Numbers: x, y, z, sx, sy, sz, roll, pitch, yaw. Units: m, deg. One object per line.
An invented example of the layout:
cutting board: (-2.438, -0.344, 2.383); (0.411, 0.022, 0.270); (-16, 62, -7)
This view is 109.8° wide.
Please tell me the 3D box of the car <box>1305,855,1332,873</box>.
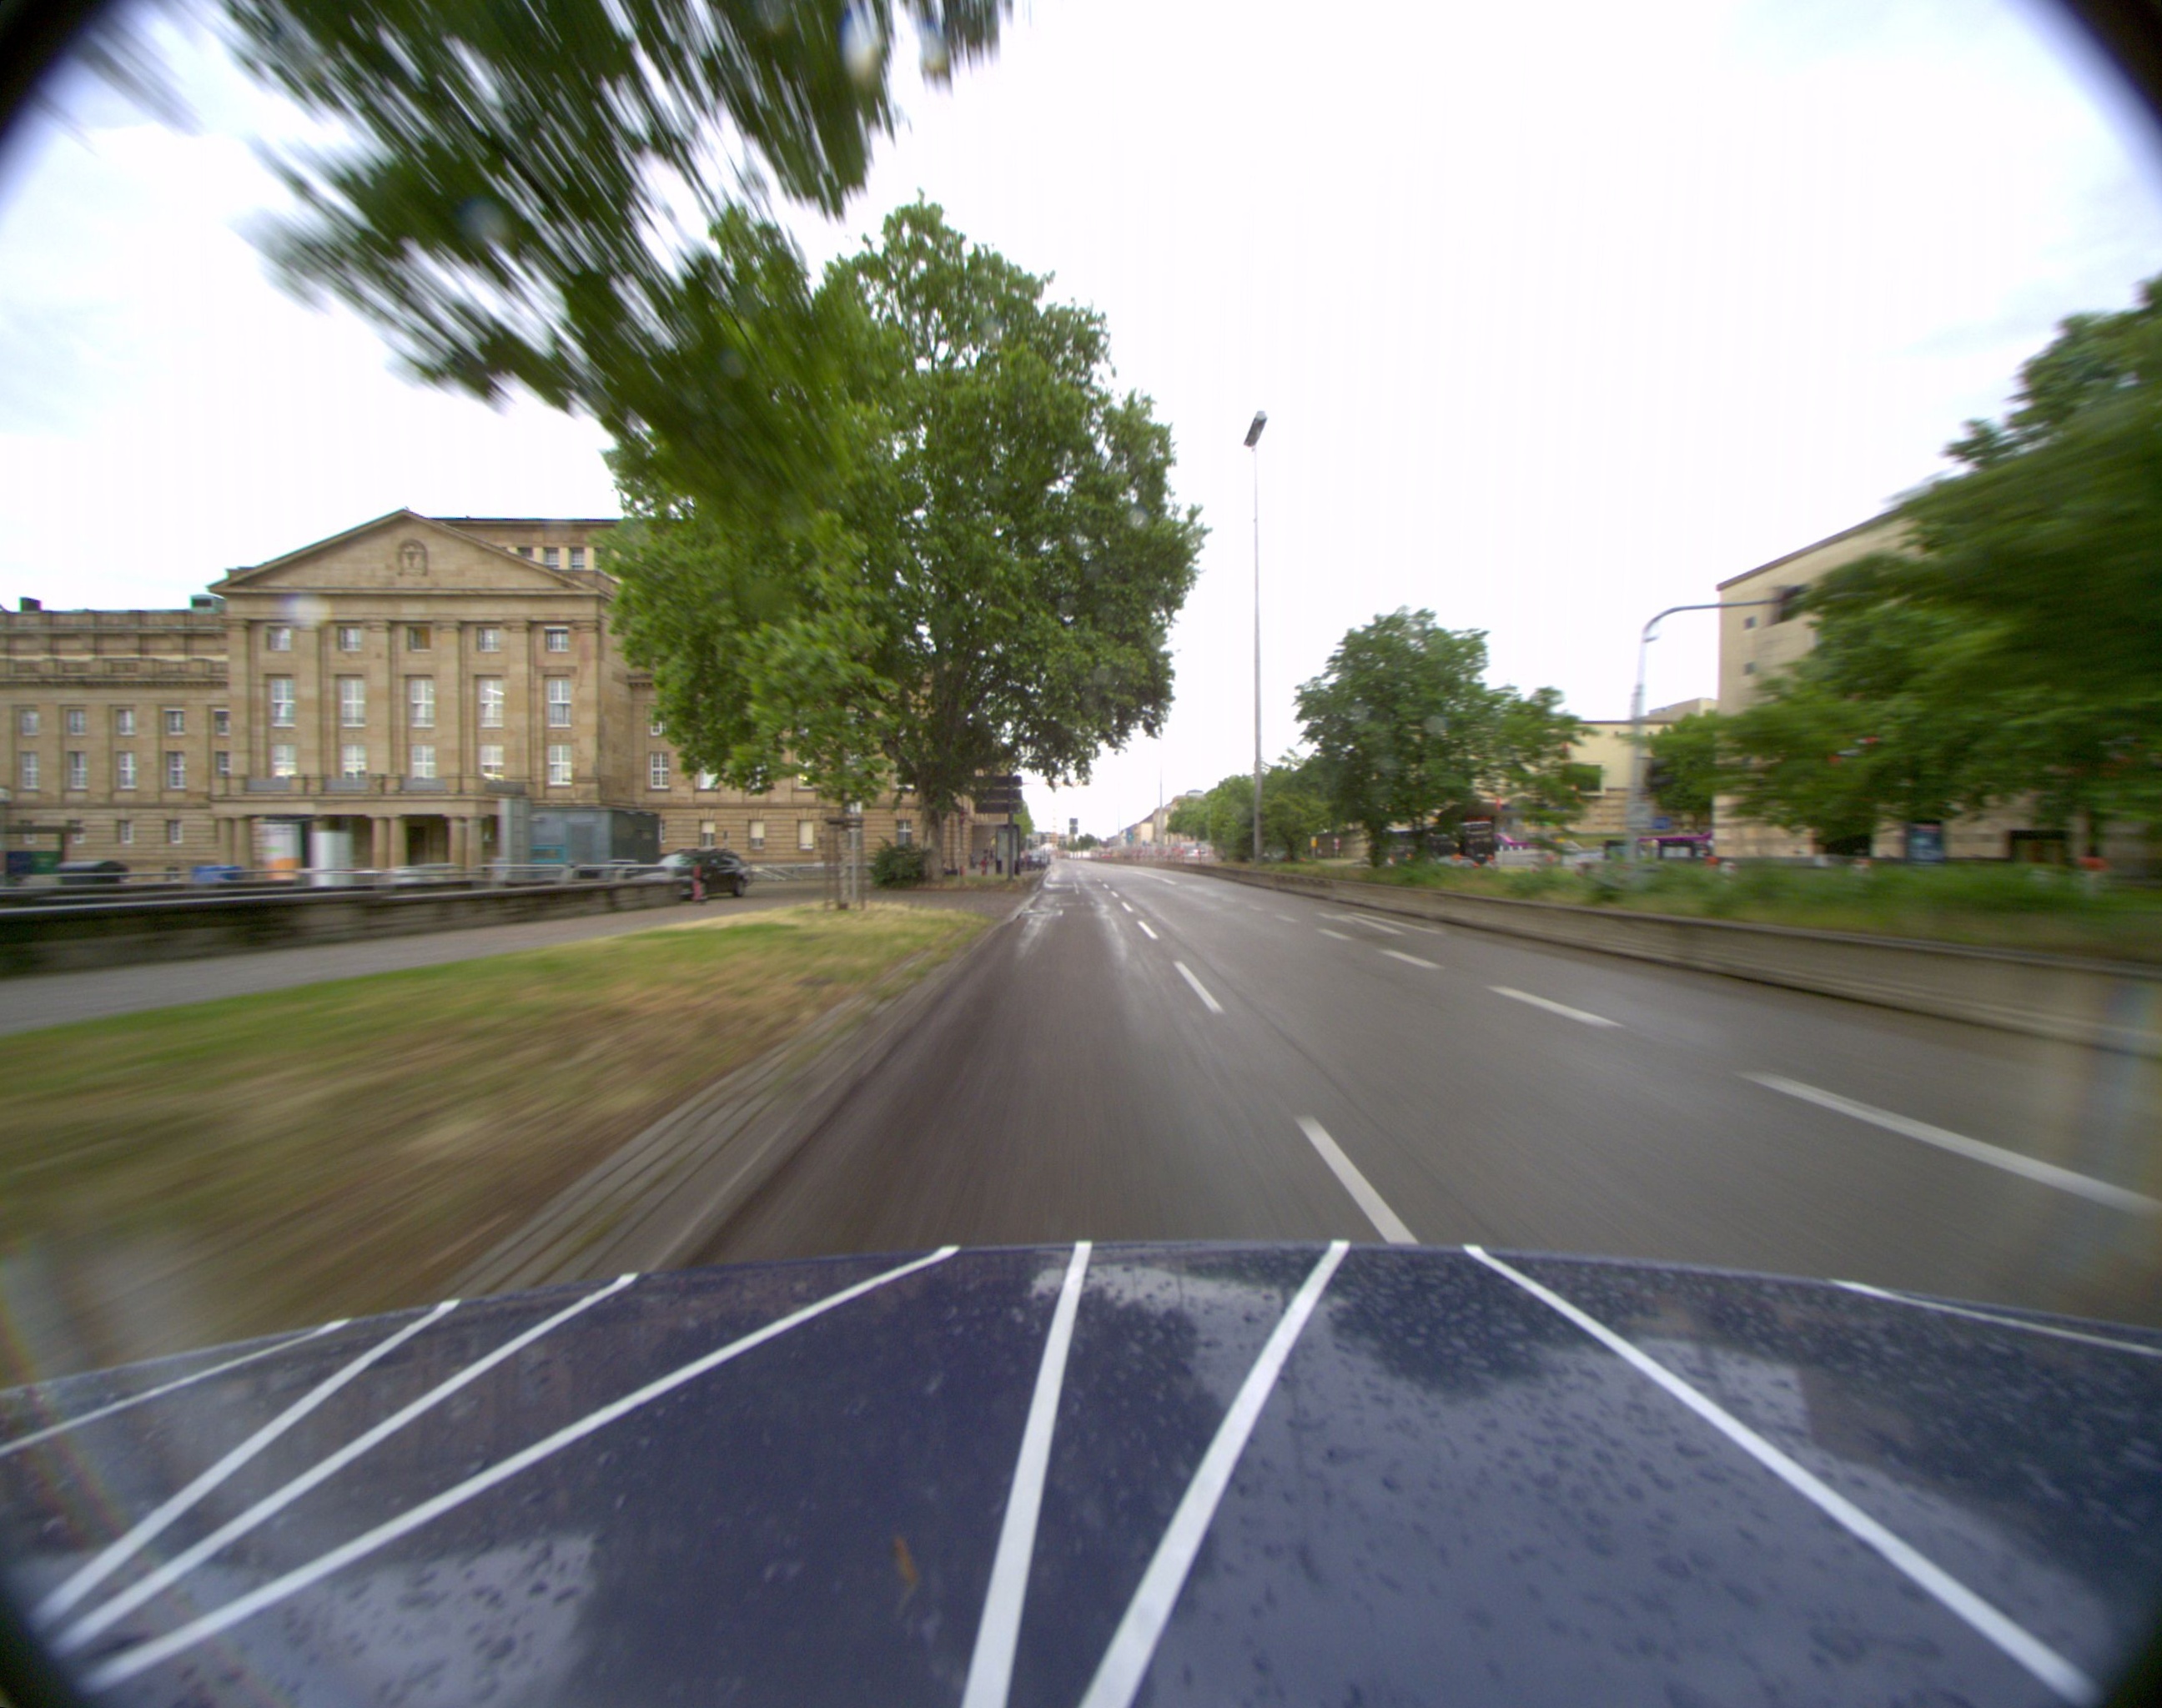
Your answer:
car: (24.239, 1.019, 77.609); (1.596, 1.493, 3.210); (-1, 5, -4)

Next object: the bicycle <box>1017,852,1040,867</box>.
bicycle: (-3.922, 0.419, 56.761); (1.683, 1.084, 0.650); (-1, 1, 1)

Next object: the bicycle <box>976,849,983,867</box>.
bicycle: (-8.779, 0.339, 65.846); (0.455, 1.507, 1.599); (-2, 1, -2)

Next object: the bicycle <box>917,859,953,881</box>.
bicycle: (-7.287, 0.802, 38.006); (1.644, 1.014, 0.575); (-2, 1, 4)

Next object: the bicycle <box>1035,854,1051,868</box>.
bicycle: (-2.697, 0.520, 54.430); (0.670, 0.962, 1.639); (0, 1, 14)

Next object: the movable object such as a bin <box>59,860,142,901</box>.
movable object such as a bin: (-36.805, 0.968, 28.535); (1.493, 1.449, 1.249); (1, 2, 2)

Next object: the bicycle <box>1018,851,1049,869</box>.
bicycle: (-3.438, 0.454, 55.509); (2.196, 1.329, 0.650); (0, 1, 1)

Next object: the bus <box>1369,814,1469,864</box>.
bus: (29.187, -1.224, 66.719); (2.810, 3.789, 14.598); (-2, 0, 3)

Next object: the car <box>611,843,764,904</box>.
car: (-11.566, 0.558, 22.872); (1.999, 1.600, 5.236); (-1, -1, -2)

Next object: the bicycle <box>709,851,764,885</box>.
bicycle: (-17.271, 0.693, 38.121); (2.323, 1.657, 0.774); (-1, 2, -7)

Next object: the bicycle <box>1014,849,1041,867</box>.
bicycle: (-3.965, 0.300, 56.288); (1.911, 1.325, 0.650); (-1, 1, 1)

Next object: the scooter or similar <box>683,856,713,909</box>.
scooter or similar: (-9.503, 0.693, 18.822); (0.544, 1.248, 1.433); (0, 1, -32)

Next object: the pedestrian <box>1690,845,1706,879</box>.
pedestrian: (37.138, 0.472, 45.740); (0.479, 2.002, 0.512); (1, 2, -1)

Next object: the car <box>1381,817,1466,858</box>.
car: (13.288, -0.611, 29.717); (1.549, 1.499, 3.930); (-1, 1, 0)

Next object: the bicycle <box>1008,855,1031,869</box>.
bicycle: (-4.448, 0.553, 54.666); (1.593, 0.988, 0.524); (-1, 1, 1)

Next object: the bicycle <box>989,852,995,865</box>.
bicycle: (-8.477, 0.461, 72.650); (0.465, 1.208, 1.691); (-1, 1, -3)

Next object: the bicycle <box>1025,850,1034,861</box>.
bicycle: (-6.006, 0.160, 88.057); (0.778, 1.211, 1.963); (1, 1, -12)

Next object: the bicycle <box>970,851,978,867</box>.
bicycle: (-8.738, 0.399, 62.094); (0.455, 1.244, 1.599); (-2, 1, -2)

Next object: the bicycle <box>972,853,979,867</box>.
bicycle: (-8.473, 0.484, 61.221); (0.353, 1.074, 1.788); (1, 1, -2)

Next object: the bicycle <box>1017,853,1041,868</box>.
bicycle: (-3.753, 0.482, 55.411); (1.683, 1.116, 0.601); (-1, 1, 1)

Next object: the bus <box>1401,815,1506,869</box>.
bus: (32.721, -0.981, 67.662); (3.126, 4.227, 13.495); (-2, 0, 2)

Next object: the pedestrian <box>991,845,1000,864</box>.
pedestrian: (-8.482, 0.055, 75.542); (0.797, 1.767, 0.642); (2, 1, -1)

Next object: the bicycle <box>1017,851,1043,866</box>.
bicycle: (-3.920, 0.352, 58.406); (1.991, 1.054, 0.759); (-1, 1, -4)
